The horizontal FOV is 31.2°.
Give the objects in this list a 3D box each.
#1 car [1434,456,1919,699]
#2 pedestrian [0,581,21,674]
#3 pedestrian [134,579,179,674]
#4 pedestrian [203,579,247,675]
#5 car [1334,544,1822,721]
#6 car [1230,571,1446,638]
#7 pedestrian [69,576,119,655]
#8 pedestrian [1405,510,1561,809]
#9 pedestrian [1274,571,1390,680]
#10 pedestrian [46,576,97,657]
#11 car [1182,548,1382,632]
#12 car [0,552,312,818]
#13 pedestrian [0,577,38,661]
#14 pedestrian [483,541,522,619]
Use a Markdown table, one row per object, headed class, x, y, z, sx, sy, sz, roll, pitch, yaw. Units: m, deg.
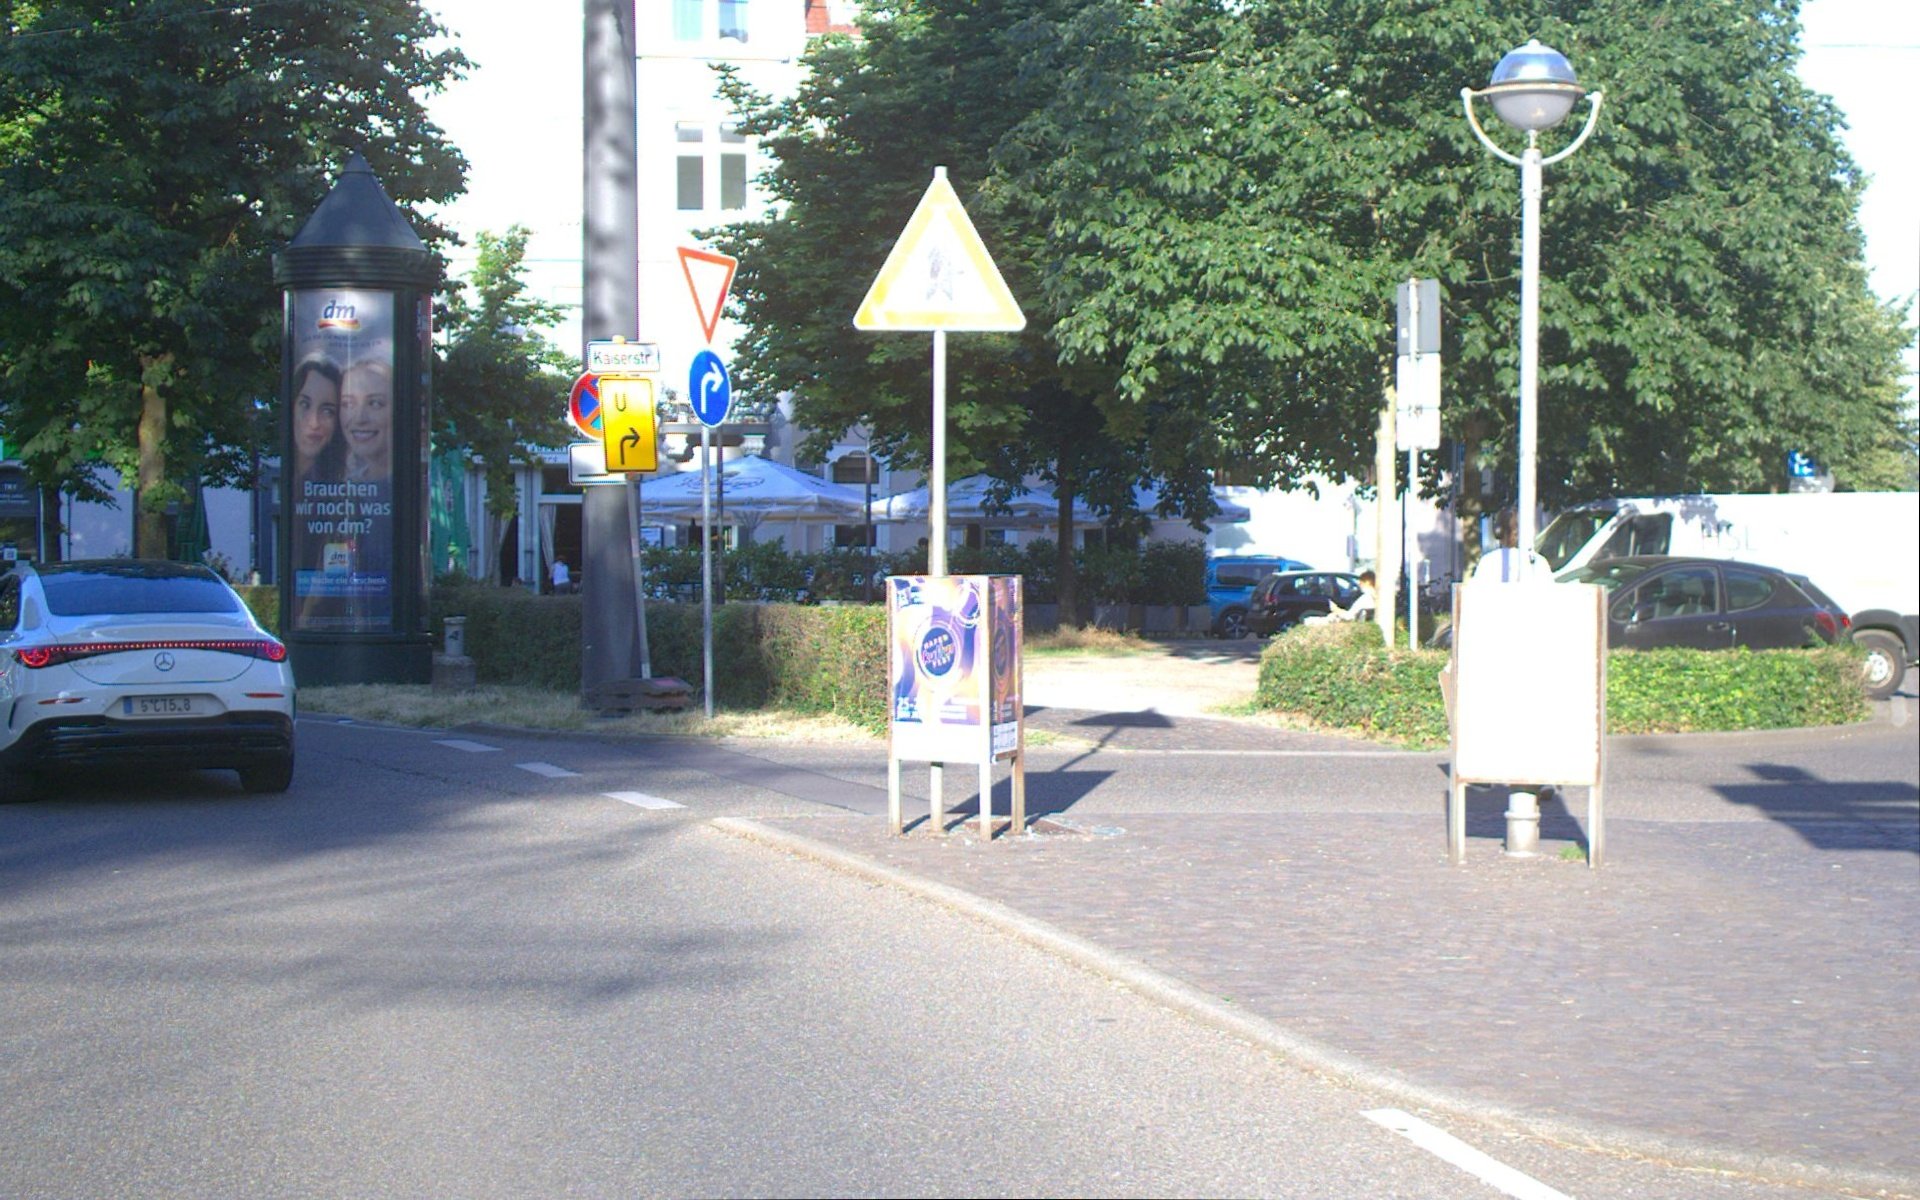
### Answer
| class | x | y | z | sx | sy | sz | roll | pitch | yaw |
| --- | --- | --- | --- | --- | --- | --- | --- | --- | --- |
| car | 8.259 | -0.243 | 38.205 | 5.510 | 2.586 | 2.155 | 0 | 1 | -11 |
| pedestrian | -15.489 | 0.438 | 55.358 | 0.534 | 1.492 | 0.660 | 1 | 1 | 3 |
| pedestrian | -12.840 | 0.423 | 54.933 | 0.534 | 1.492 | 0.660 | 1 | 1 | 3 |
| pedestrian | -11.902 | 0.429 | 55.694 | 0.534 | 1.543 | 0.660 | 1 | 1 | 3 |
| car | 5.669 | 0.280 | 31.641 | 3.986 | 1.546 | 1.879 | 0 | 1 | -18 |
| car | 7.608 | 0.076 | 69.427 | 3.986 | 1.297 | 1.853 | 0 | 1 | -8 |
| pedestrian | -14.920 | 0.264 | 59.257 | 0.666 | 1.348 | 0.660 | 1 | 1 | 3 |
| pedestrian | 3.085 | 0.333 | 20.285 | 0.860 | 1.700 | 0.941 | 1 | 1 | 9 |
| pedestrian | 4.304 | 0.287 | 39.804 | 1.097 | 1.222 | 0.860 | 1 | 1 | -11 |
| pedestrian | -15.094 | 0.277 | 58.426 | 0.666 | 1.348 | 0.660 | 1 | 1 | 3 |
| car | 6.967 | -0.218 | 74.582 | 3.986 | 1.776 | 1.853 | 0 | 1 | -8 |
| car | -5.479 | 0.455 | 21.971 | 1.864 | 1.436 | 4.198 | -2 | 2 | -21 |
| pedestrian | -15.667 | 0.312 | 57.023 | 0.534 | 1.374 | 0.660 | 1 | 1 | 3 |
| pedestrian | -10.947 | -0.476 | 82.282 | 0.854 | 1.860 | 0.936 | 0 | 1 | -11 |
